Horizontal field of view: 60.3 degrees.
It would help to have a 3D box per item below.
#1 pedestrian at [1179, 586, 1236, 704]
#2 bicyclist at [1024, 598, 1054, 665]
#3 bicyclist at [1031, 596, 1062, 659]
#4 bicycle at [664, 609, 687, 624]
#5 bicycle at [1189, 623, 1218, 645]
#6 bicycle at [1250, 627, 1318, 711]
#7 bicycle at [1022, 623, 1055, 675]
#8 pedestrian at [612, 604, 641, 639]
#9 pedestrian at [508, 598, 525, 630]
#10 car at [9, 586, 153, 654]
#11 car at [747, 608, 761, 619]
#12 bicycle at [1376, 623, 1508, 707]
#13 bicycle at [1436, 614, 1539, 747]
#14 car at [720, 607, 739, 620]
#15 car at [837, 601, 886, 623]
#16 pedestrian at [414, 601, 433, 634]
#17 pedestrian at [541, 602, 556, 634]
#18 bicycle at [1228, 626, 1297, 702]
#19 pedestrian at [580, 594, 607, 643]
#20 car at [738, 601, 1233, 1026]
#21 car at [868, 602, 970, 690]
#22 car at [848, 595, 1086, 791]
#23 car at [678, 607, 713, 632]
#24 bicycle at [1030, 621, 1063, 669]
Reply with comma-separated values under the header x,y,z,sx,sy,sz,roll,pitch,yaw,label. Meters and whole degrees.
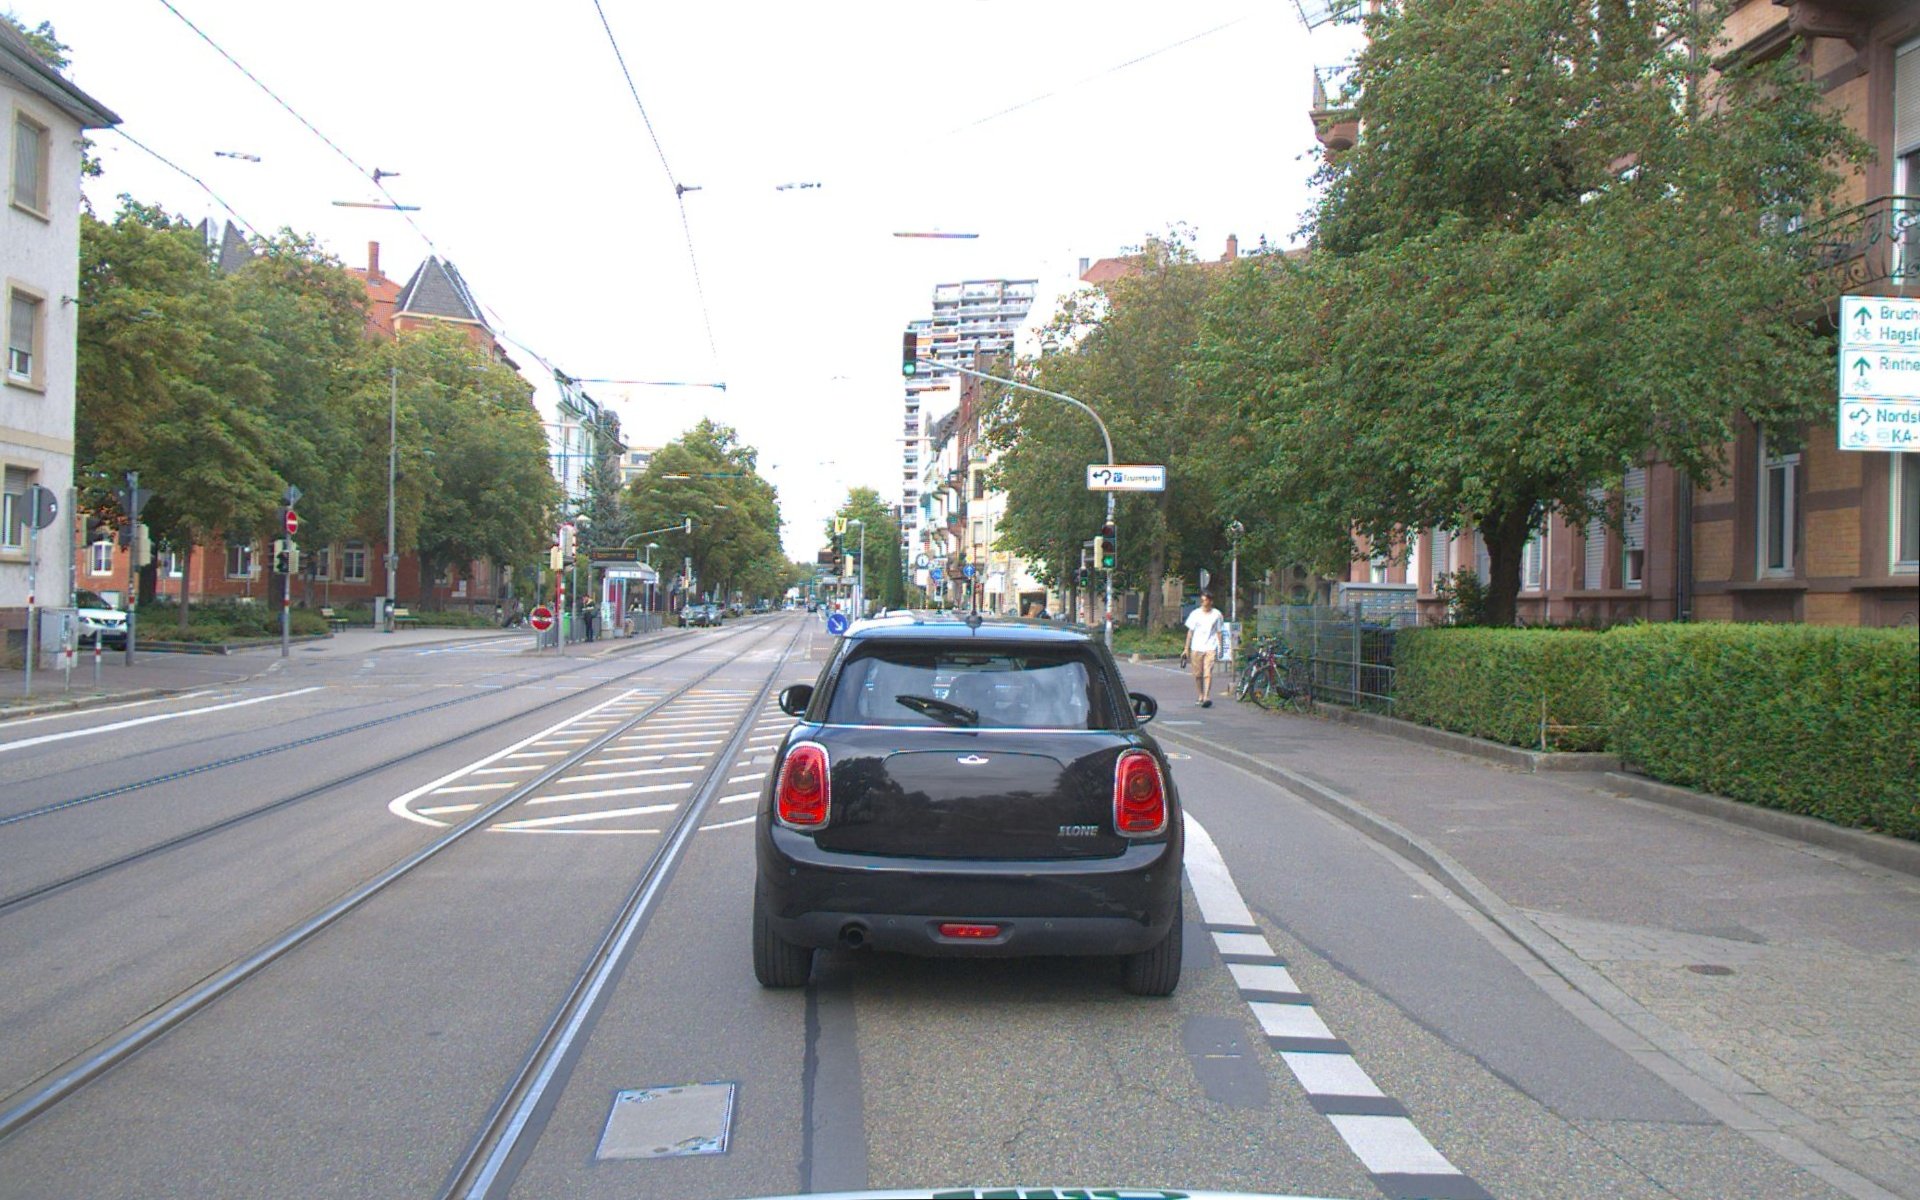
x,y,z,sx,sy,sz,roll,pitch,yaw,label
3.804,0.684,25.480,0.715,1.784,0.949,1,0,0,pedestrian
1.885,0.754,39.777,0.583,1.577,1.013,1,0,-5,bicyclist
2.217,0.707,42.371,0.670,1.591,0.997,1,0,-3,bicyclist
-21.833,1.269,126.961,1.659,1.138,0.563,1,0,-45,bicycle
12.652,1.753,85.857,0.654,1.147,1.886,0,-1,37,bicycle
4.569,0.960,23.416,0.498,1.107,1.548,-2,0,-5,bicycle
1.874,1.172,39.777,0.586,1.191,1.695,1,0,-5,bicycle
-13.021,0.842,64.595,1.039,1.316,0.983,1,-1,-10,pedestrian
-24.430,0.767,91.118,0.817,1.733,0.731,1,-1,-10,pedestrian
-24.146,0.595,45.387,4.074,1.751,1.834,-2,-3,35,car
-32.238,2.102,258.535,1.954,1.579,3.996,1,0,-4,car
6.070,0.816,20.860,1.515,1.026,0.509,1,0,-7,bicycle
5.449,0.800,17.148,0.505,1.304,1.549,1,0,-3,bicycle
-27.341,1.586,195.862,1.954,1.579,3.996,1,0,-4,car
-10.725,1.340,179.758,2.357,2.312,5.003,0,-1,44,car
-28.417,0.950,87.667,0.817,1.733,0.731,1,-1,-10,pedestrian
-22.750,0.976,91.412,0.680,1.749,0.757,1,0,-3,pedestrian
4.766,0.994,26.162,0.658,1.125,1.670,1,0,-5,bicycle
-12.537,0.630,56.642,0.836,1.649,0.841,1,-1,-10,pedestrian
0.055,0.761,7.793,1.716,1.466,3.999,1,0,-1,car
-0.780,0.796,30.170,1.716,1.466,4.477,1,0,-2,car
0.019,0.757,15.193,1.888,1.536,3.999,1,0,-1,car
-16.795,1.221,105.074,1.717,1.466,3.997,3,-1,-3,car
2.203,1.135,42.423,0.670,1.191,1.695,1,0,-3,bicycle
